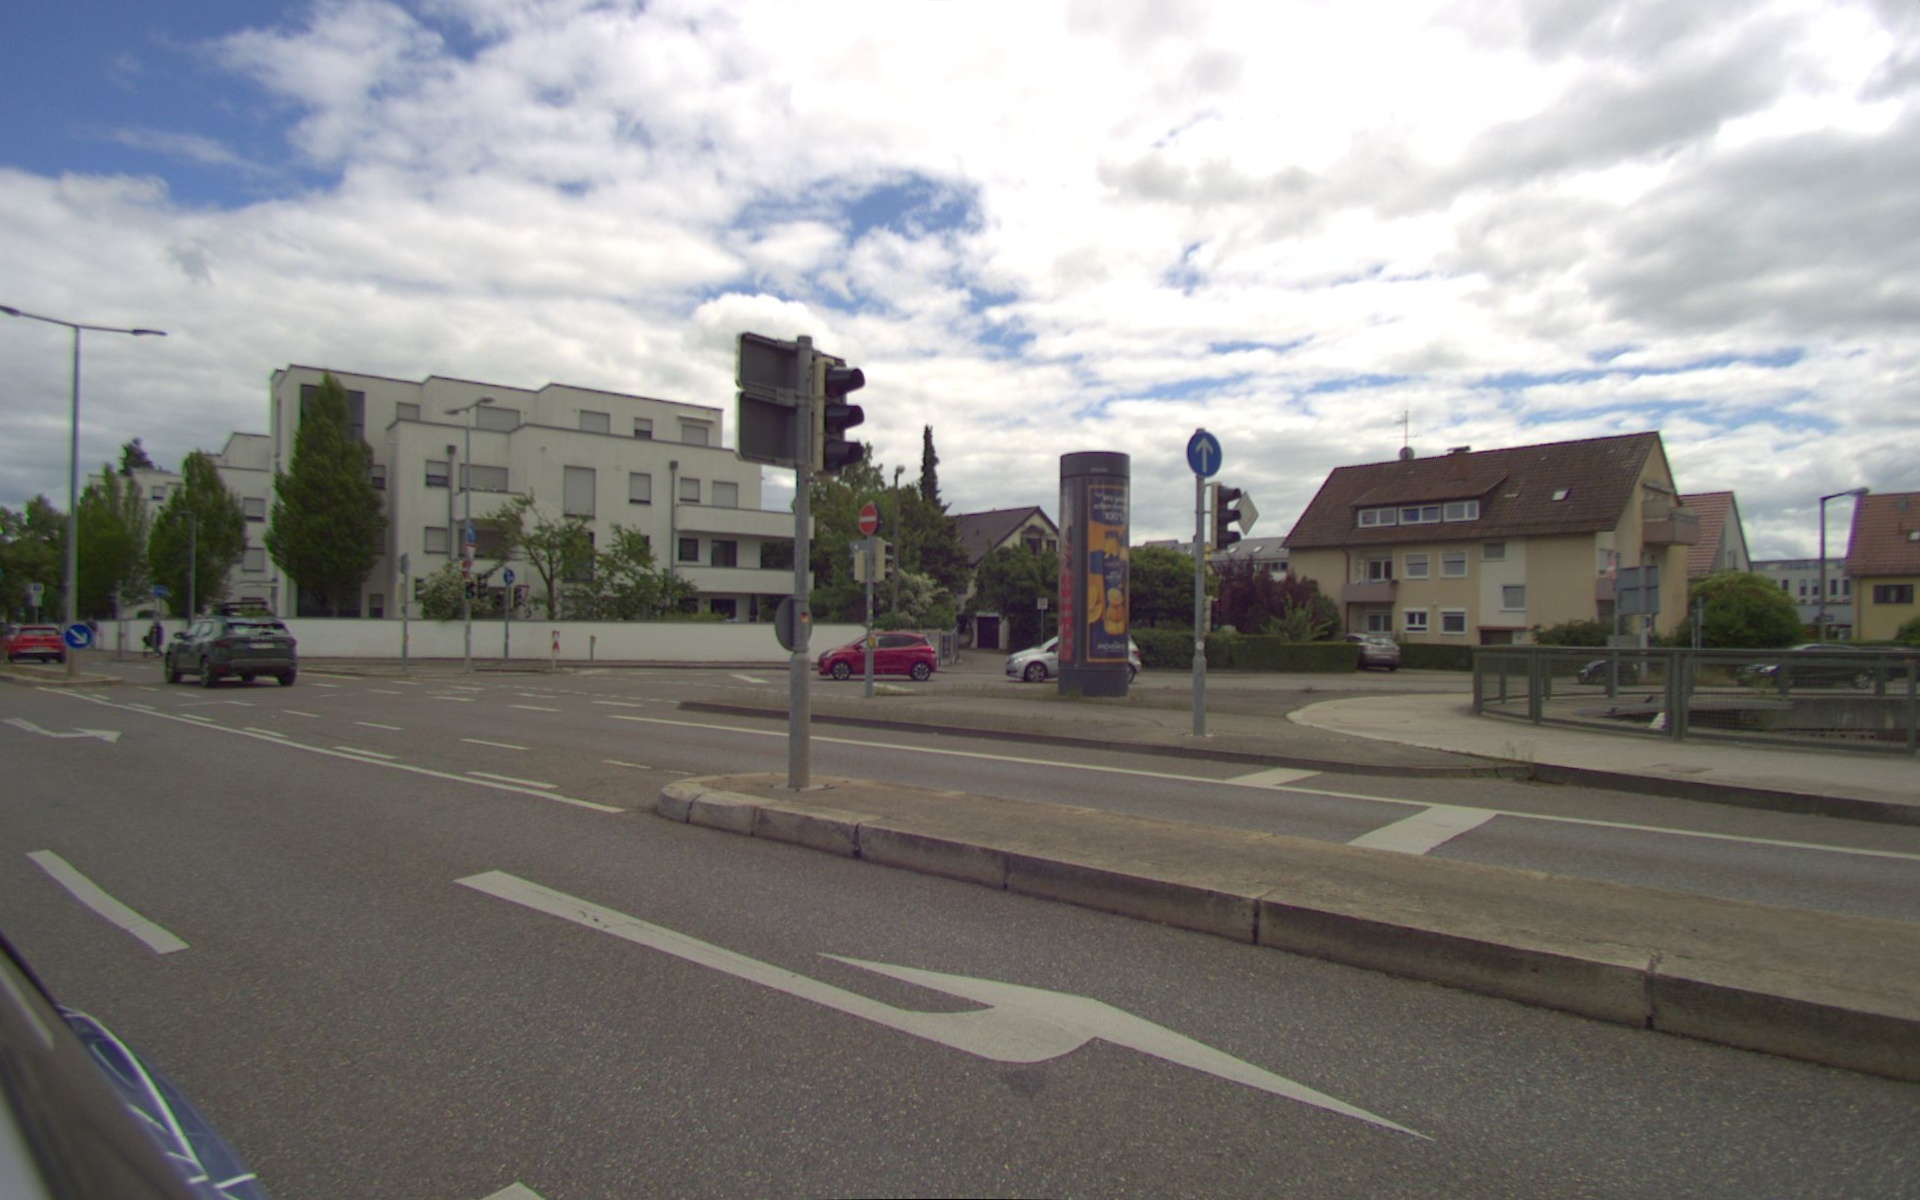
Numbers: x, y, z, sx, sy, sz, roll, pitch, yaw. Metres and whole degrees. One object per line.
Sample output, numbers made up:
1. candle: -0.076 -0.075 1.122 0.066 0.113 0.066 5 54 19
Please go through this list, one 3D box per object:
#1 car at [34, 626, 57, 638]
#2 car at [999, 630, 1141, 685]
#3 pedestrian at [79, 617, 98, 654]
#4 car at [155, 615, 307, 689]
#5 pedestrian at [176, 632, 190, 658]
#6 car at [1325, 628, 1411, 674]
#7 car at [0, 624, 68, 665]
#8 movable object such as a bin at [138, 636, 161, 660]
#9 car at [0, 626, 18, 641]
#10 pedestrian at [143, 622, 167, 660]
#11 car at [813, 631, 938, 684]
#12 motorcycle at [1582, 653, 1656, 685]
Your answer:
1. car: -120.149 4.213 132.964 1.860 1.628 4.008 2 -3 -38
2. car: 3.370 1.768 31.270 4.067 1.547 1.649 2 -3 -5
3. pedestrian: -47.640 1.948 55.310 0.871 1.962 0.642 -1 1 40
4. car: -17.659 1.223 24.452 4.272 1.639 1.805 -1 -3 38
5. pedestrian: -32.487 1.866 42.311 0.443 1.070 0.322 -1 2 38
6. car: 16.872 2.073 42.051 1.761 1.592 4.002 -2 1 -2
7. car: -35.191 1.648 38.060 4.061 1.459 1.704 -1 -3 38
8. movable object such as a bin: -34.581 2.030 43.186 0.985 0.967 0.492 -1 2 37
9. car: -104.463 3.675 110.543 1.887 1.665 4.008 2 -3 -38
10. pedestrian: -33.938 1.704 42.659 0.730 1.554 0.526 -2 2 37
11. car: -2.607 1.736 30.899 3.645 1.458 1.778 2 -2 -7
12. motorcycle: 23.785 2.488 36.554 0.691 1.007 2.128 6 -4 -32
